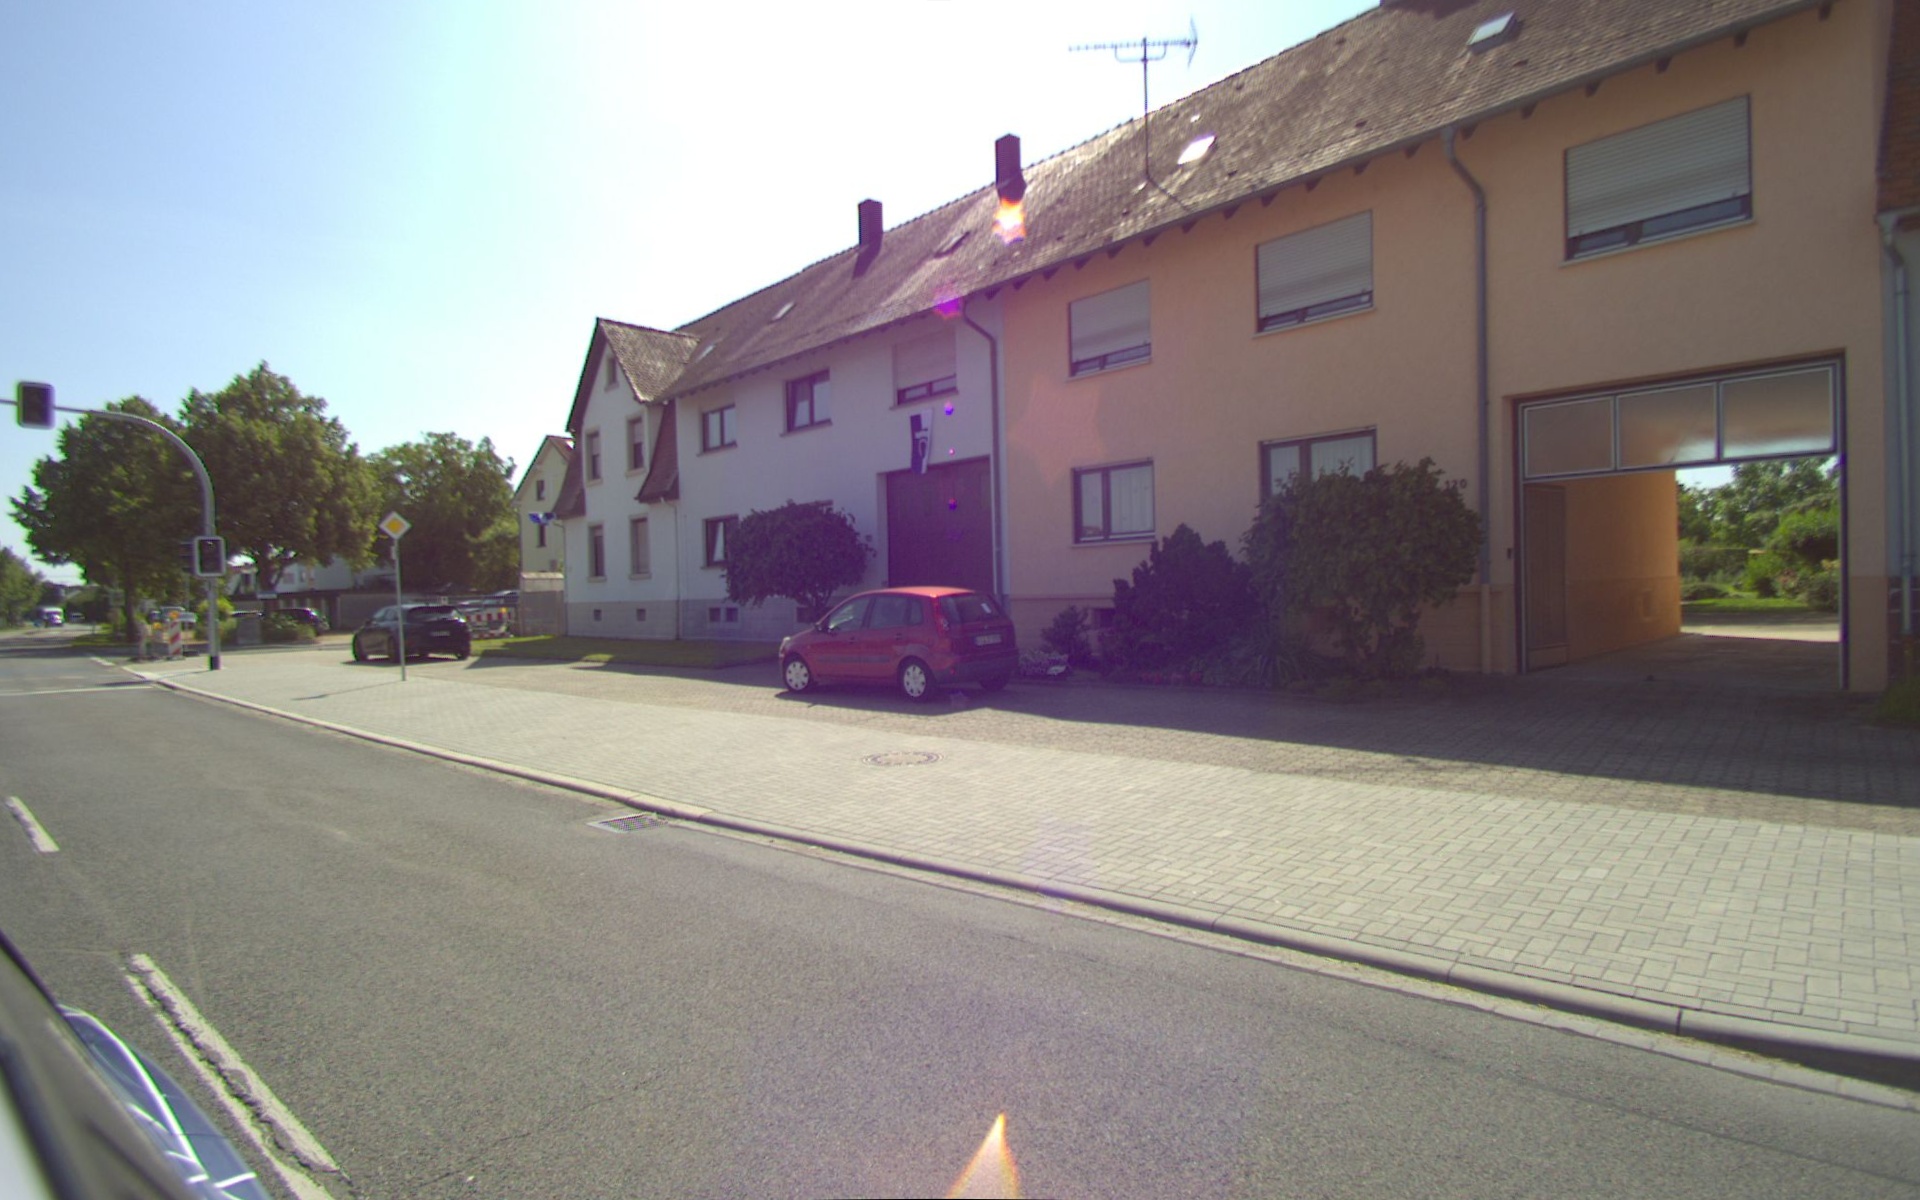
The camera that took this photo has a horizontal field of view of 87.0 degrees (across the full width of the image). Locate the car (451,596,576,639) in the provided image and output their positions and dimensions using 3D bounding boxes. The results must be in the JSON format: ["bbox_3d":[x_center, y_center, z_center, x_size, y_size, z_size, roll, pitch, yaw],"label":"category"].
[{"bbox_3d":[-22.971,0.846,52.235,1.999,2.060,5.550,-1,0,42],"label":"car"}]

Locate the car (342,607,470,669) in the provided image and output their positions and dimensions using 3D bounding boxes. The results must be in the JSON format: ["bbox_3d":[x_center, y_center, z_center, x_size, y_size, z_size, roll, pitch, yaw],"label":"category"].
[{"bbox_3d":[-14.436,0.931,26.276,4.399,1.418,1.695,0,0,44],"label":"car"}]

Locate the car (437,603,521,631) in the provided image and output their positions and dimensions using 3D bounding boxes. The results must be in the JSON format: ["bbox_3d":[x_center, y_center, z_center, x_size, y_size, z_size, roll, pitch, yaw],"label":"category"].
[{"bbox_3d":[-27.936,0.952,58.793,2.000,1.516,3.943,-1,0,43],"label":"car"}]

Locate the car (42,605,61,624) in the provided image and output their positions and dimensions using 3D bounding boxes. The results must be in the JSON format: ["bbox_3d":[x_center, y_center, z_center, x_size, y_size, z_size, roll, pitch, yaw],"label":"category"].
[{"bbox_3d":[-123.184,1.967,137.208,1.910,2.521,5.845,-1,0,-42],"label":"car"}]

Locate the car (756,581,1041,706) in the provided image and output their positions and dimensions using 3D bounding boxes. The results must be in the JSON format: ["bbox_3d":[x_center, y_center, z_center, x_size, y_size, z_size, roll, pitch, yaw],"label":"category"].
[{"bbox_3d":[-0.958,0.573,14.118,3.914,1.464,1.696,-3,0,43],"label":"car"}]

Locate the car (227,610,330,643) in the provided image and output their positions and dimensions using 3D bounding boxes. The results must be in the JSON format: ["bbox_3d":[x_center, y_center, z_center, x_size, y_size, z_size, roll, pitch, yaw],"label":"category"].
[{"bbox_3d":[-34.939,1.338,52.025,3.933,1.516,2.005,-1,0,-14],"label":"car"}]

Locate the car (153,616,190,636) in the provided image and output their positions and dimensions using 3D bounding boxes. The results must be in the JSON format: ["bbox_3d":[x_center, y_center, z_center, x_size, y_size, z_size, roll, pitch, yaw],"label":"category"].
[{"bbox_3d":[-62.958,2.093,80.797,1.970,1.516,4.004,-1,0,-43],"label":"car"}]
